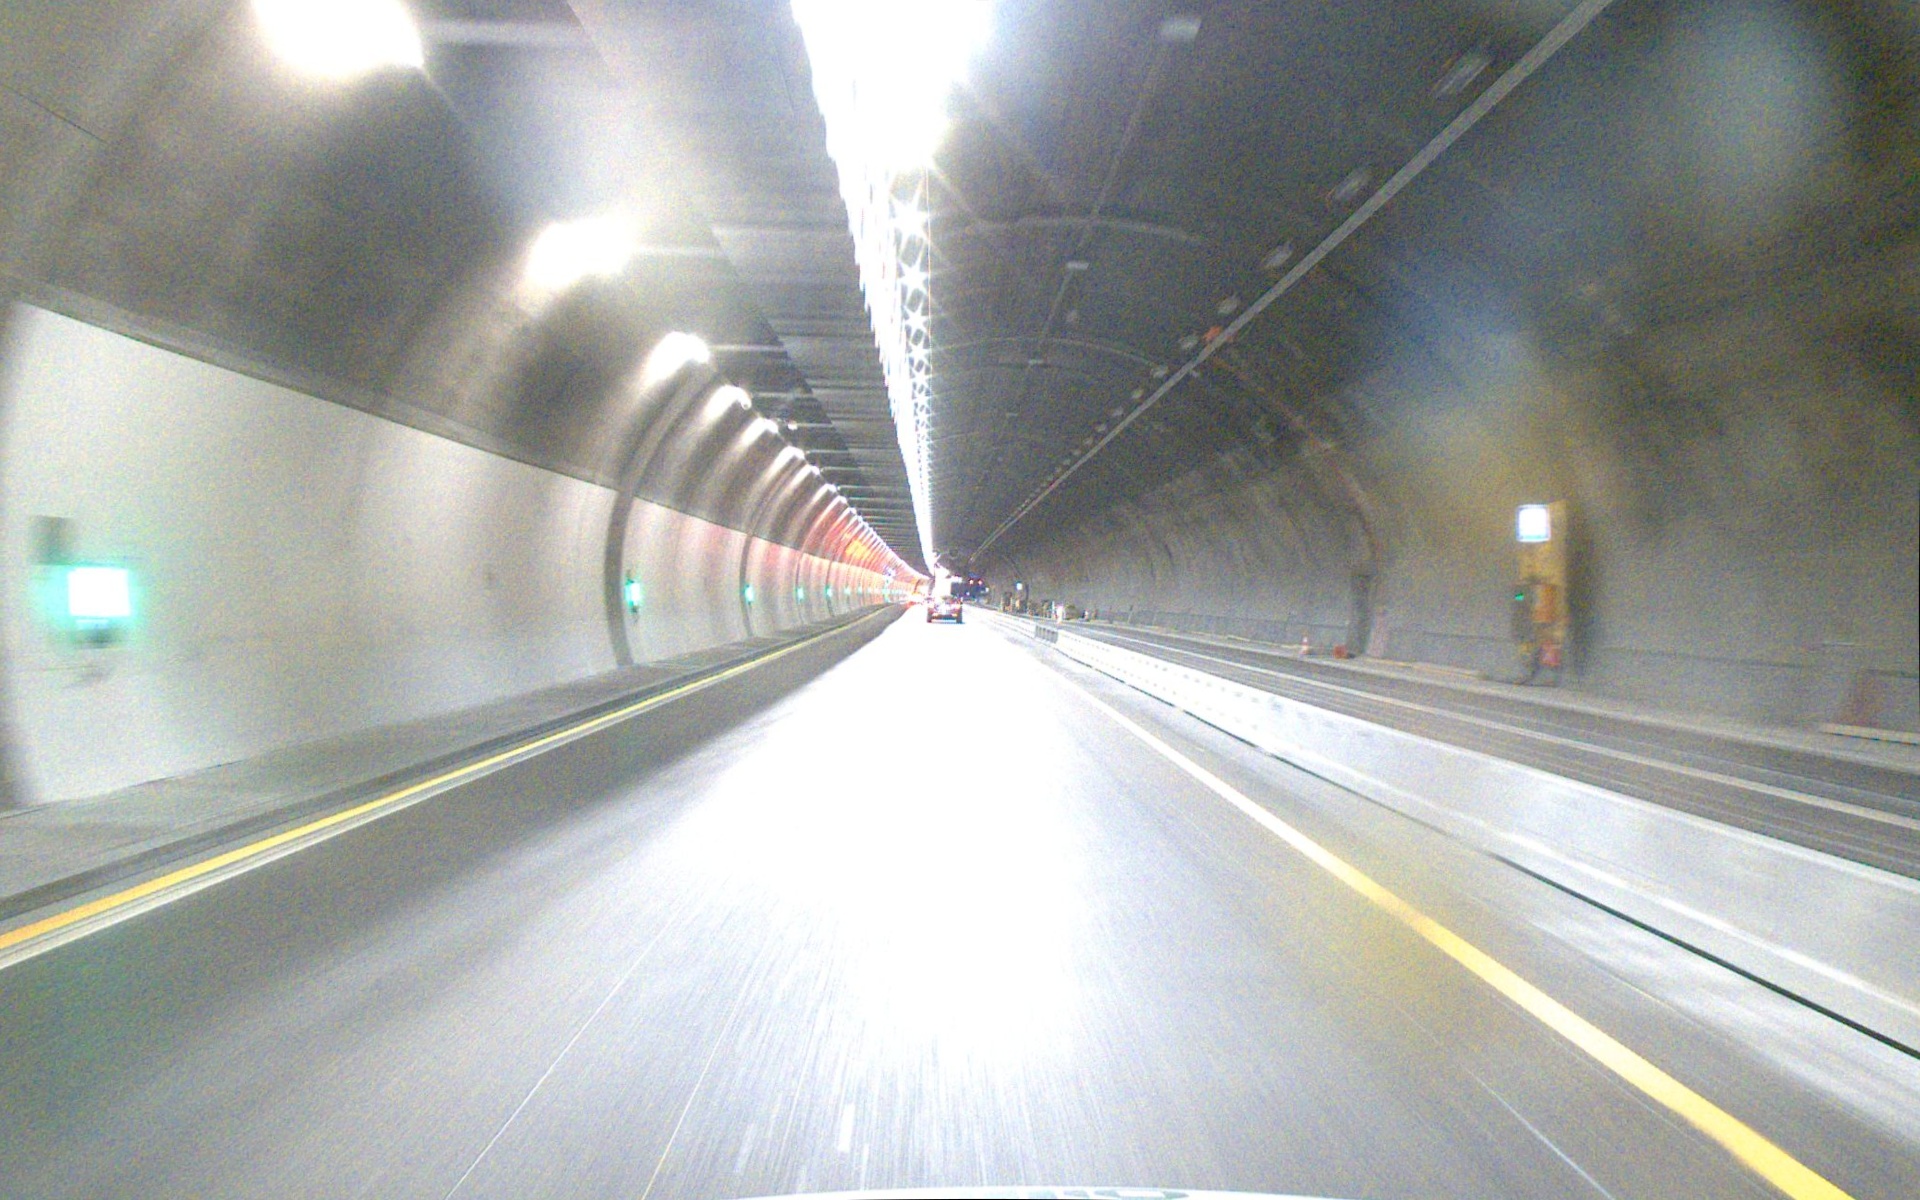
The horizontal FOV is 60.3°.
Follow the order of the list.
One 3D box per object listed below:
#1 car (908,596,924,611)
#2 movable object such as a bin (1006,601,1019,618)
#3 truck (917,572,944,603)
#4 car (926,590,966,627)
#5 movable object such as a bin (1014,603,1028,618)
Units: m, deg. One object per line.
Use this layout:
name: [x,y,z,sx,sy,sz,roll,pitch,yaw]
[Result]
car: [-5.259,0.398,196.530,1.891,1.716,3.999,1,0,-2]
movable object such as a bin: [5.680,1.066,178.412,1.210,1.748,2.216,3,0,-1]
truck: [-4.604,-1.878,260.437,3.983,4.612,14.962,1,0,-1]
car: [-0.763,0.414,86.120,1.908,1.826,3.998,1,0,-3]
movable object such as a bin: [6.157,1.032,166.697,1.210,1.467,2.216,3,0,-1]
